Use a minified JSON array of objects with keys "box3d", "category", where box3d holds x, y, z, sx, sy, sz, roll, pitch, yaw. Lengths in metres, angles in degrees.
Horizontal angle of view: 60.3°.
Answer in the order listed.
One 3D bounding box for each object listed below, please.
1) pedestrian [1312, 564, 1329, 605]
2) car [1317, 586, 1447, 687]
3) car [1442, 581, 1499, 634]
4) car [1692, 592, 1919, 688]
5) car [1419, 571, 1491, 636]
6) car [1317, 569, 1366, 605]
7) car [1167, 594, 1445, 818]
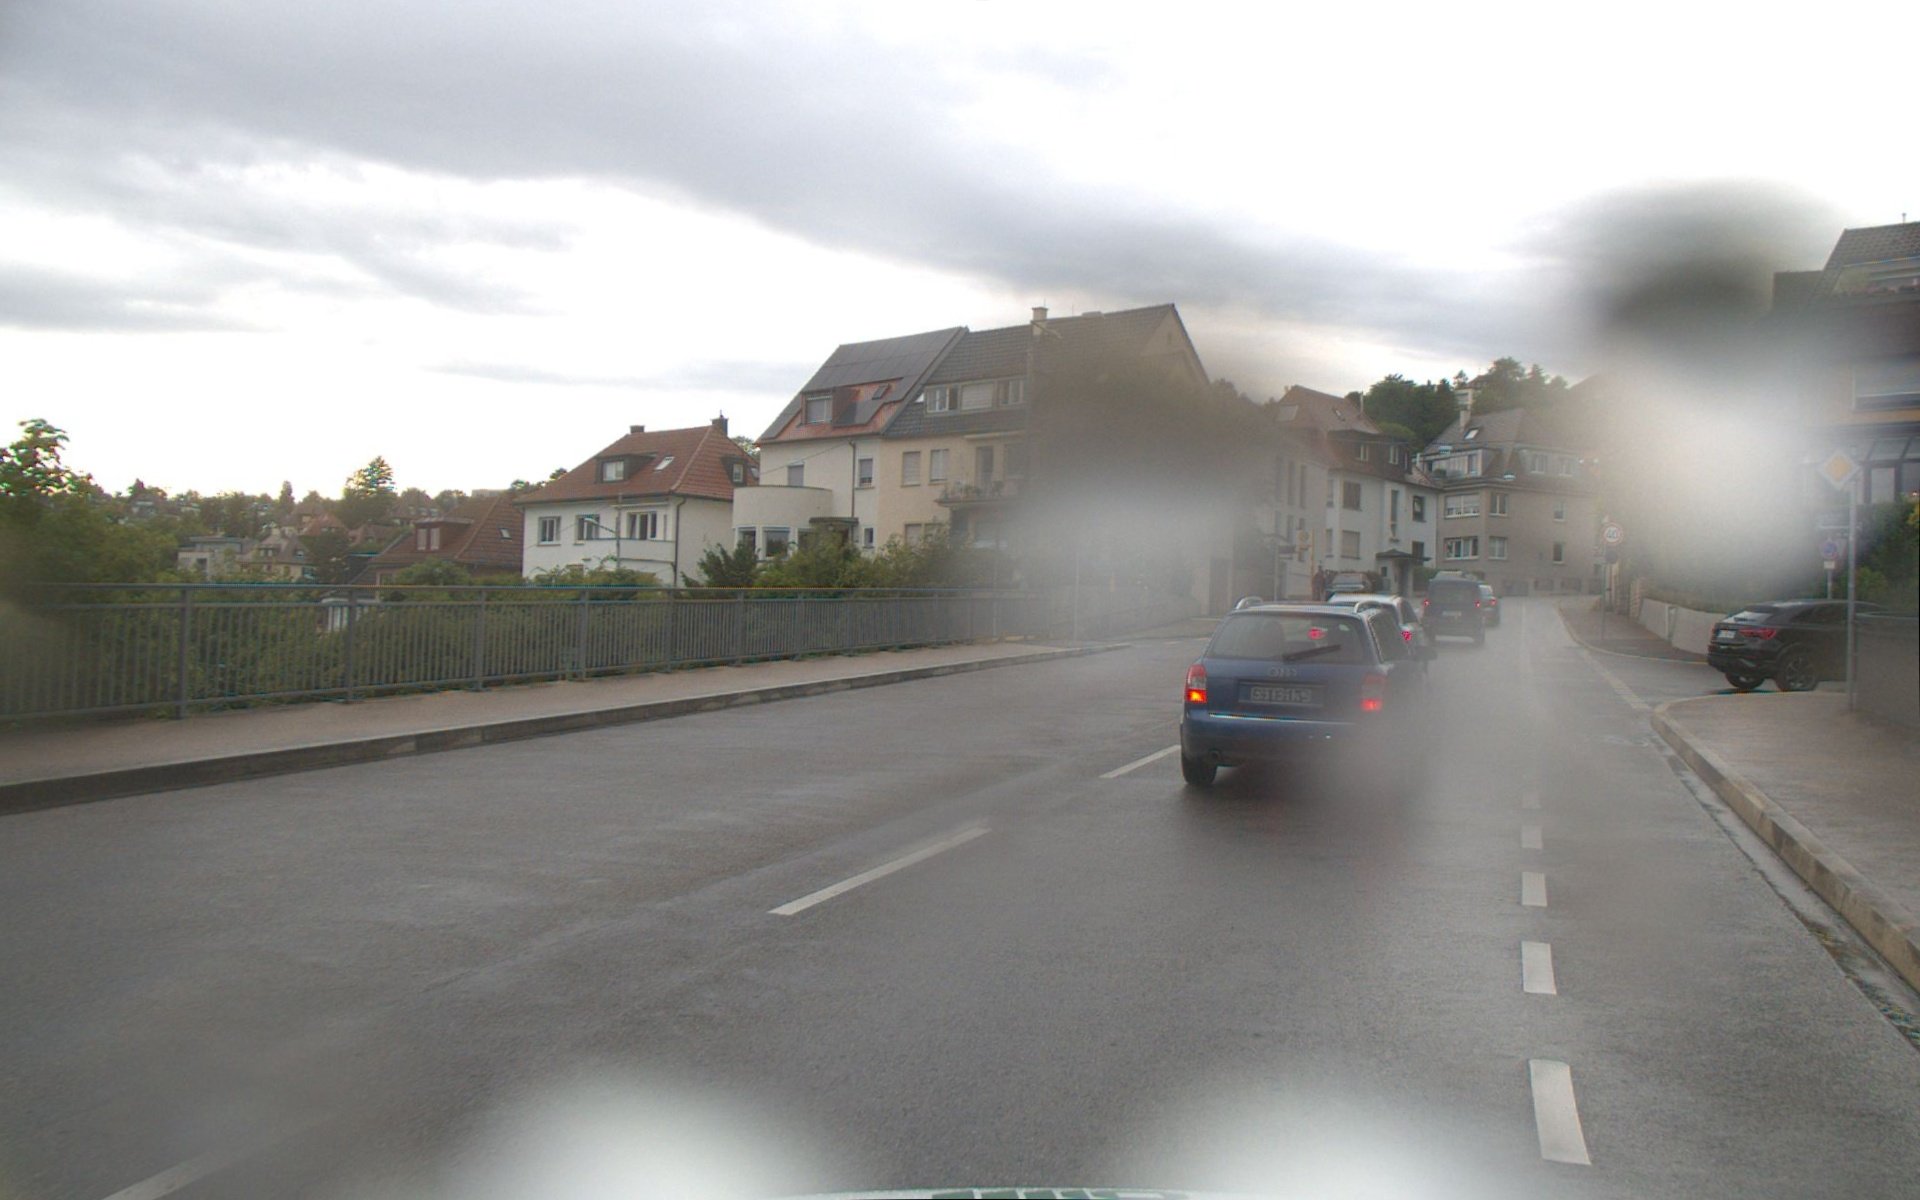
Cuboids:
[{"box3d":[15.480,-0.682,70.968,0.644,1.720,0.582,-2,2,13],"category":"pedestrian"},{"box3d":[6.964,0.568,27.084,1.851,1.413,4.002,3,1,16],"category":"car"},{"box3d":[18.719,0.244,60.790,1.784,1.760,3.788,4,2,15],"category":"car"},{"box3d":[14.740,0.678,28.194,3.703,1.449,1.824,2,1,-9],"category":"car"},{"box3d":[14.009,0.077,46.878,1.784,1.645,3.788,4,2,16],"category":"car"},{"box3d":[18.973,-0.641,82.173,1.952,1.738,4.001,0,0,20],"category":"car"},{"box3d":[2.973,0.725,13.567,1.711,1.432,4.002,3,2,19],"category":"car"}]
